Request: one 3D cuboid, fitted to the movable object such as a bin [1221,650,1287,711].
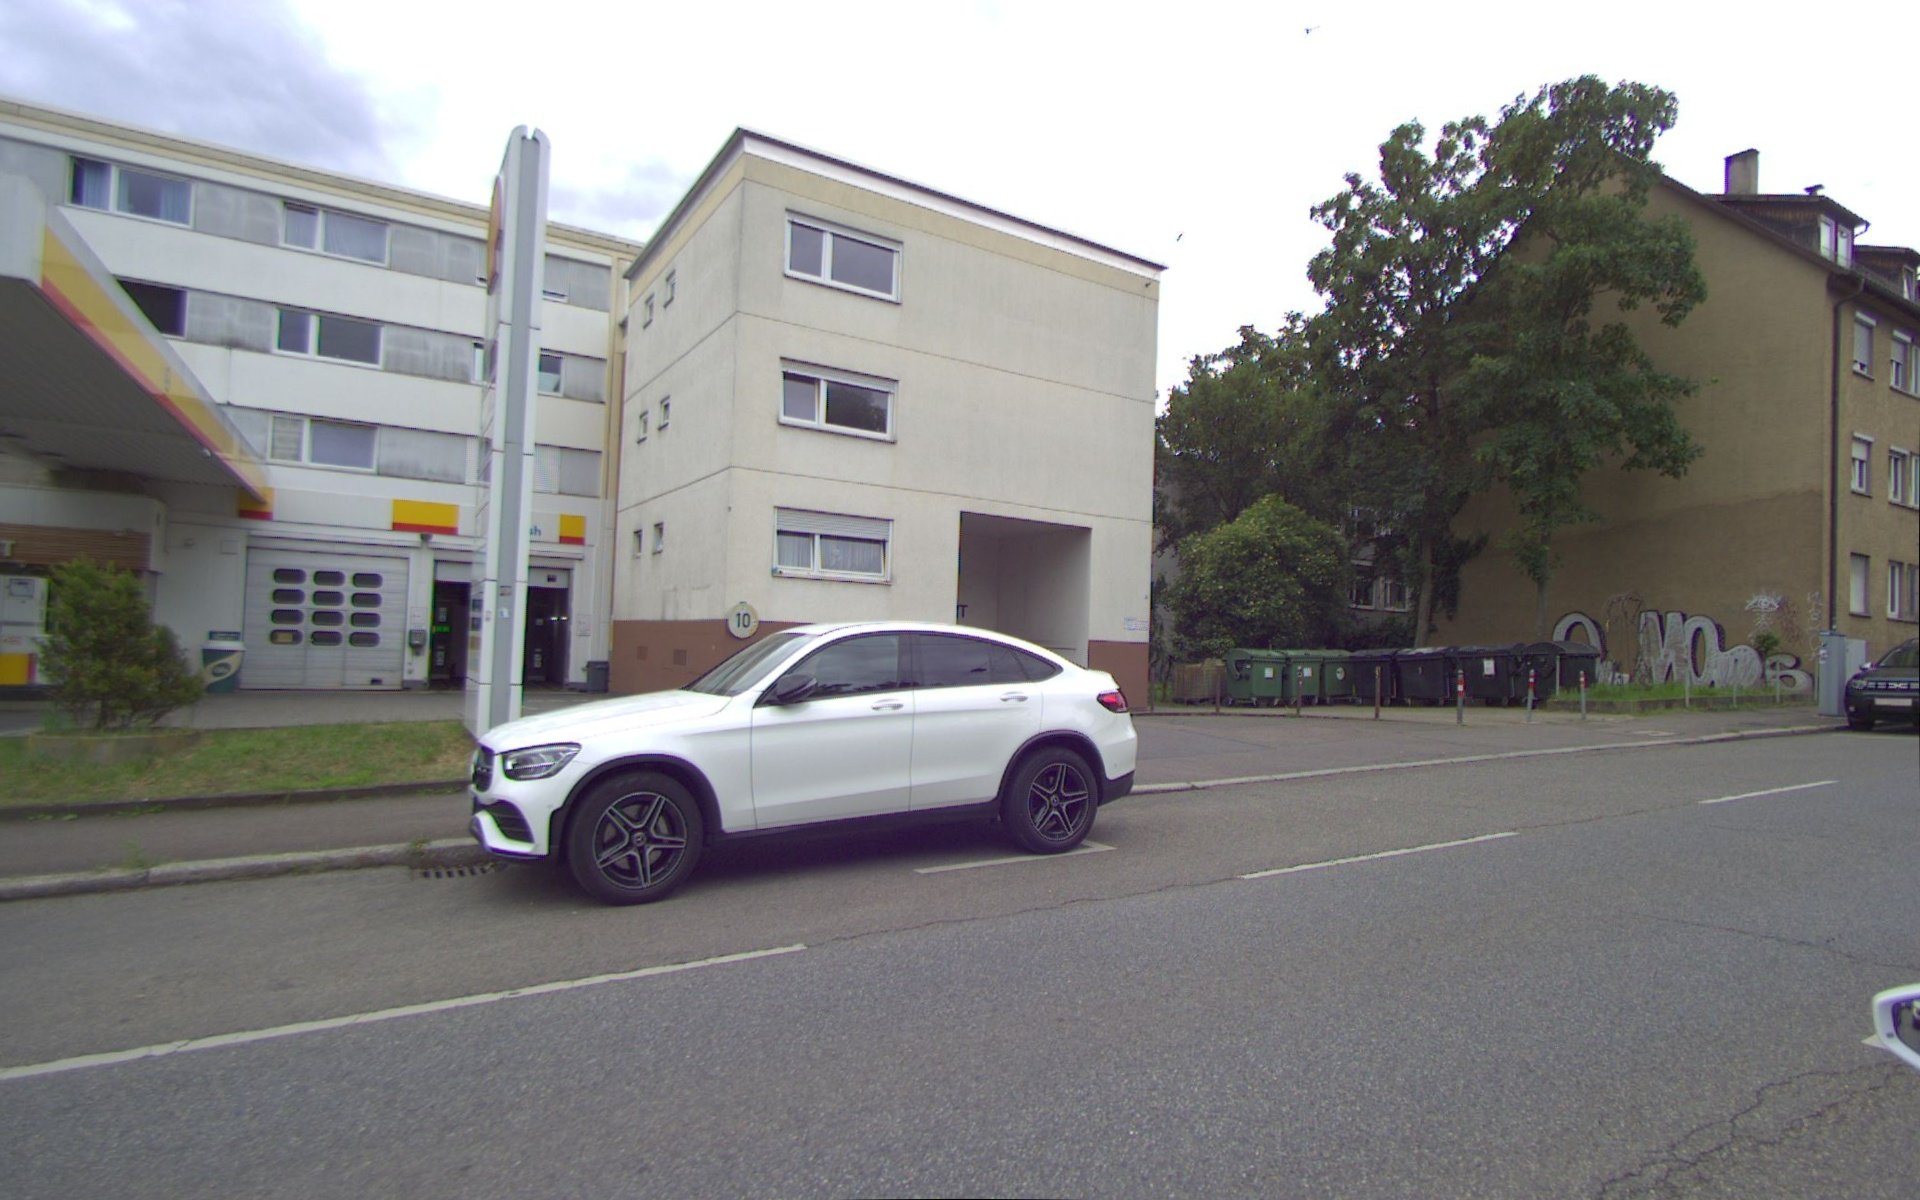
[{"bbox_3d":[7.366,1.994,25.184,1.382,1.447,0.905,2,-1,-32],"label":"movable object such as a bin"}]

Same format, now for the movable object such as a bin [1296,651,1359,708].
[{"bbox_3d":[9.774,2.095,26.704,1.382,1.447,0.905,2,-1,-32],"label":"movable object such as a bin"}]

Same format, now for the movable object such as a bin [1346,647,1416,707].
[{"bbox_3d":[10.689,1.932,25.532,0.903,1.447,1.385,2,-1,-32],"label":"movable object such as a bin"}]

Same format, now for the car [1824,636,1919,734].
[{"bbox_3d":[17.654,1.495,18.090,4.213,1.630,1.776,2,-4,-29],"label":"car"}]

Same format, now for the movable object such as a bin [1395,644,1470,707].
[{"bbox_3d":[11.434,1.801,24.320,0.903,1.447,1.385,2,-1,-32],"label":"movable object such as a bin"}]

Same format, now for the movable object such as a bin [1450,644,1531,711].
[{"bbox_3d":[12.174,1.761,23.094,0.903,1.447,1.385,2,-1,-32],"label":"movable object such as a bin"}]

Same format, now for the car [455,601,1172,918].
[{"bbox_3d":[-0.911,0.905,7.091,4.643,1.598,1.907,2,-3,-30],"label":"car"}]

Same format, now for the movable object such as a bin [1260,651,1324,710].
[{"bbox_3d":[8.580,2.044,25.943,1.382,1.447,0.905,2,-1,-32],"label":"movable object such as a bin"}]

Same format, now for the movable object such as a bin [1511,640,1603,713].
[{"bbox_3d":[12.778,1.610,21.512,1.266,1.447,1.273,2,-1,-34],"label":"movable object such as a bin"}]
